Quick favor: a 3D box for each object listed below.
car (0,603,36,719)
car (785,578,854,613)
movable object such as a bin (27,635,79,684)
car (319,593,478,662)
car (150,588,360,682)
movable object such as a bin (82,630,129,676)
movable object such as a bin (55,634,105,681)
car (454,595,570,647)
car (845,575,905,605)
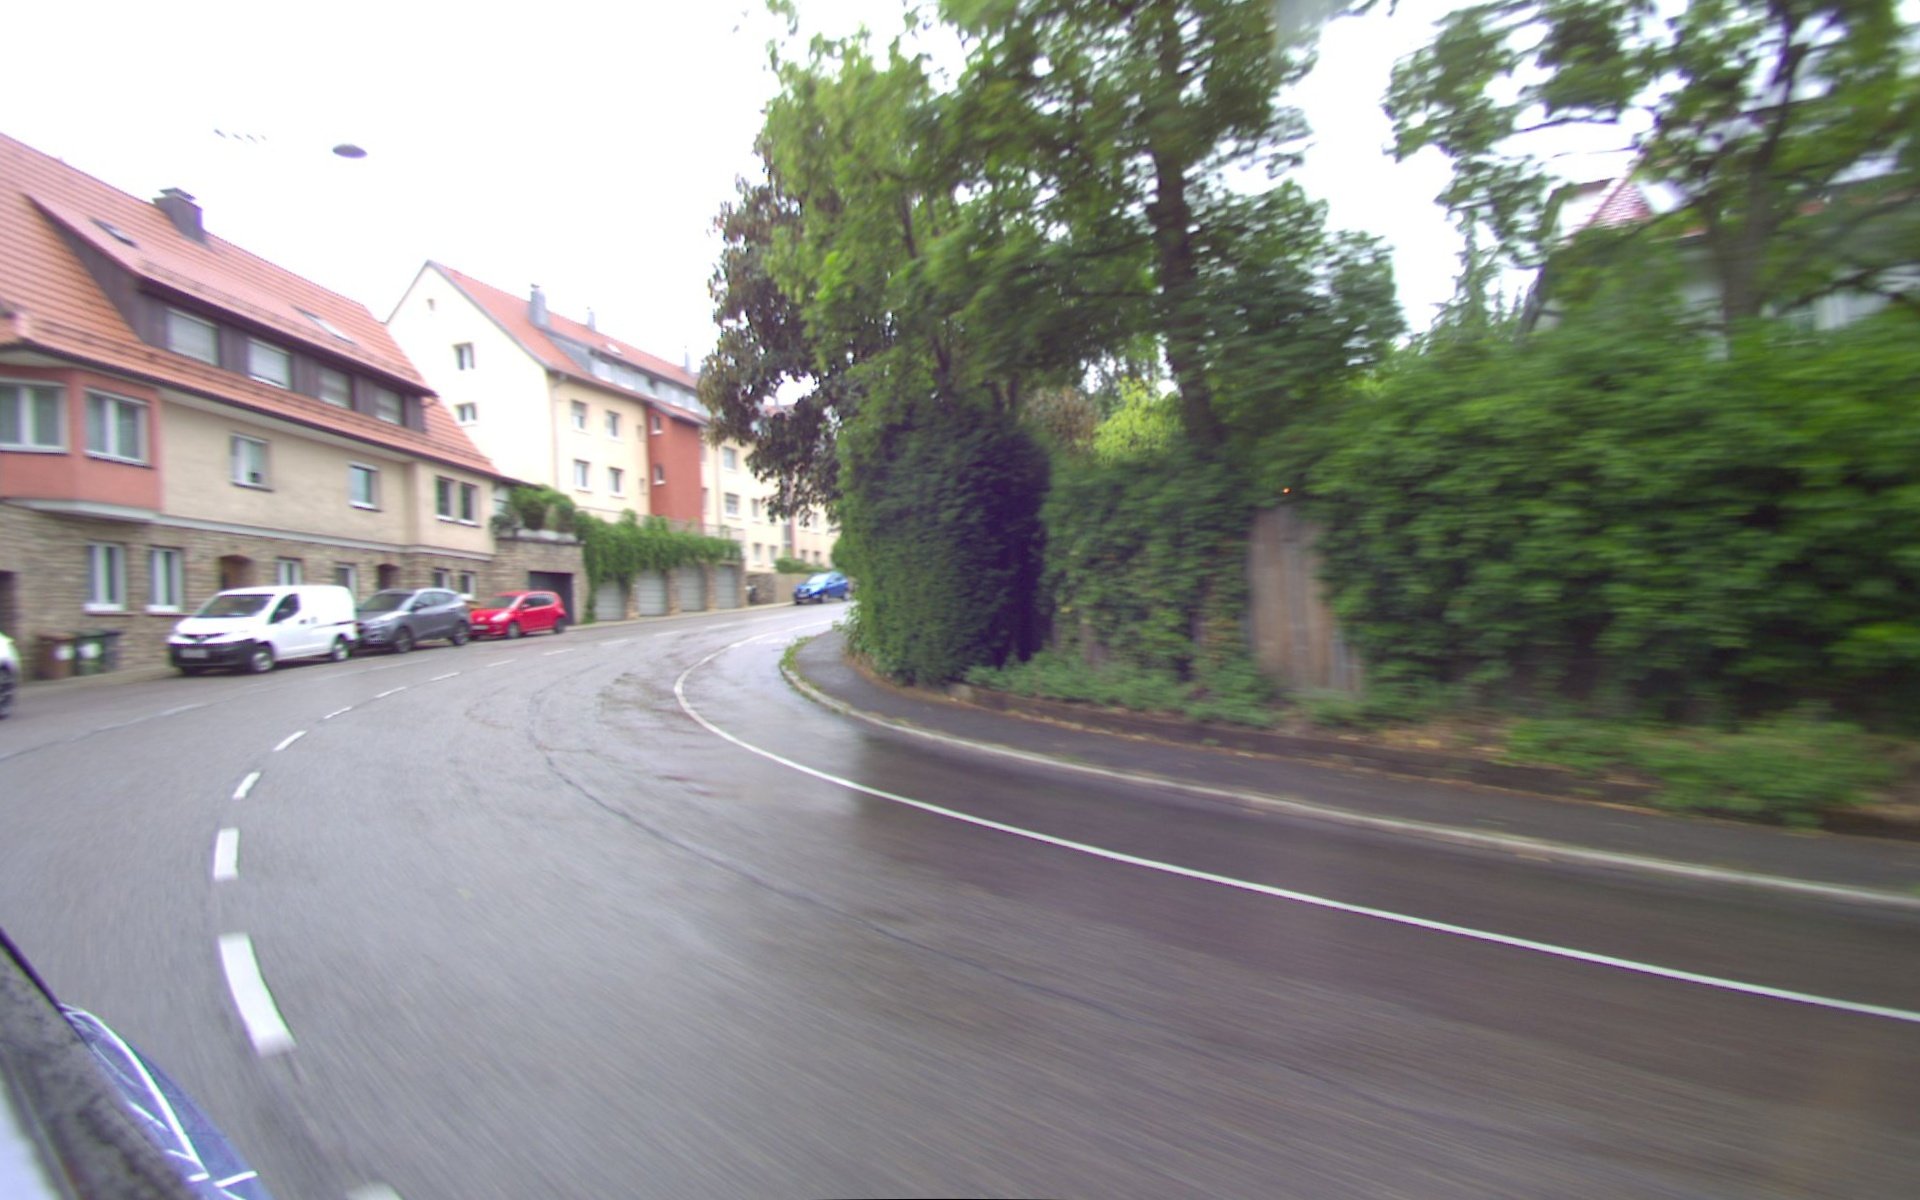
[{"bbox_3d":[-13.400,0.858,12.146,1.887,1.550,4.429,0,1,-21],"label":"car"},{"bbox_3d":[-7.278,-0.271,52.937,1.726,1.605,4.226,-3,1,20],"label":"car"},{"bbox_3d":[-18.123,1.187,20.227,0.574,0.929,0.512,0,1,6],"label":"movable object such as a bin"},{"bbox_3d":[-15.178,0.688,27.643,1.600,1.616,4.405,-2,1,5],"label":"car"},{"bbox_3d":[-15.572,0.693,22.665,1.686,1.804,4.327,-3,1,-1],"label":"car"},{"bbox_3d":[-18.031,1.122,21.362,0.574,0.929,0.512,0,1,6],"label":"movable object such as a bin"},{"bbox_3d":[-18.069,1.172,20.789,0.574,0.929,0.512,0,1,6],"label":"movable object such as a bin"},{"bbox_3d":[-14.516,0.633,33.015,1.604,1.446,3.567,-1,2,13],"label":"car"},{"bbox_3d":[-4.888,-0.608,58.777,1.683,1.466,4.223,-3,1,22],"label":"car"}]
